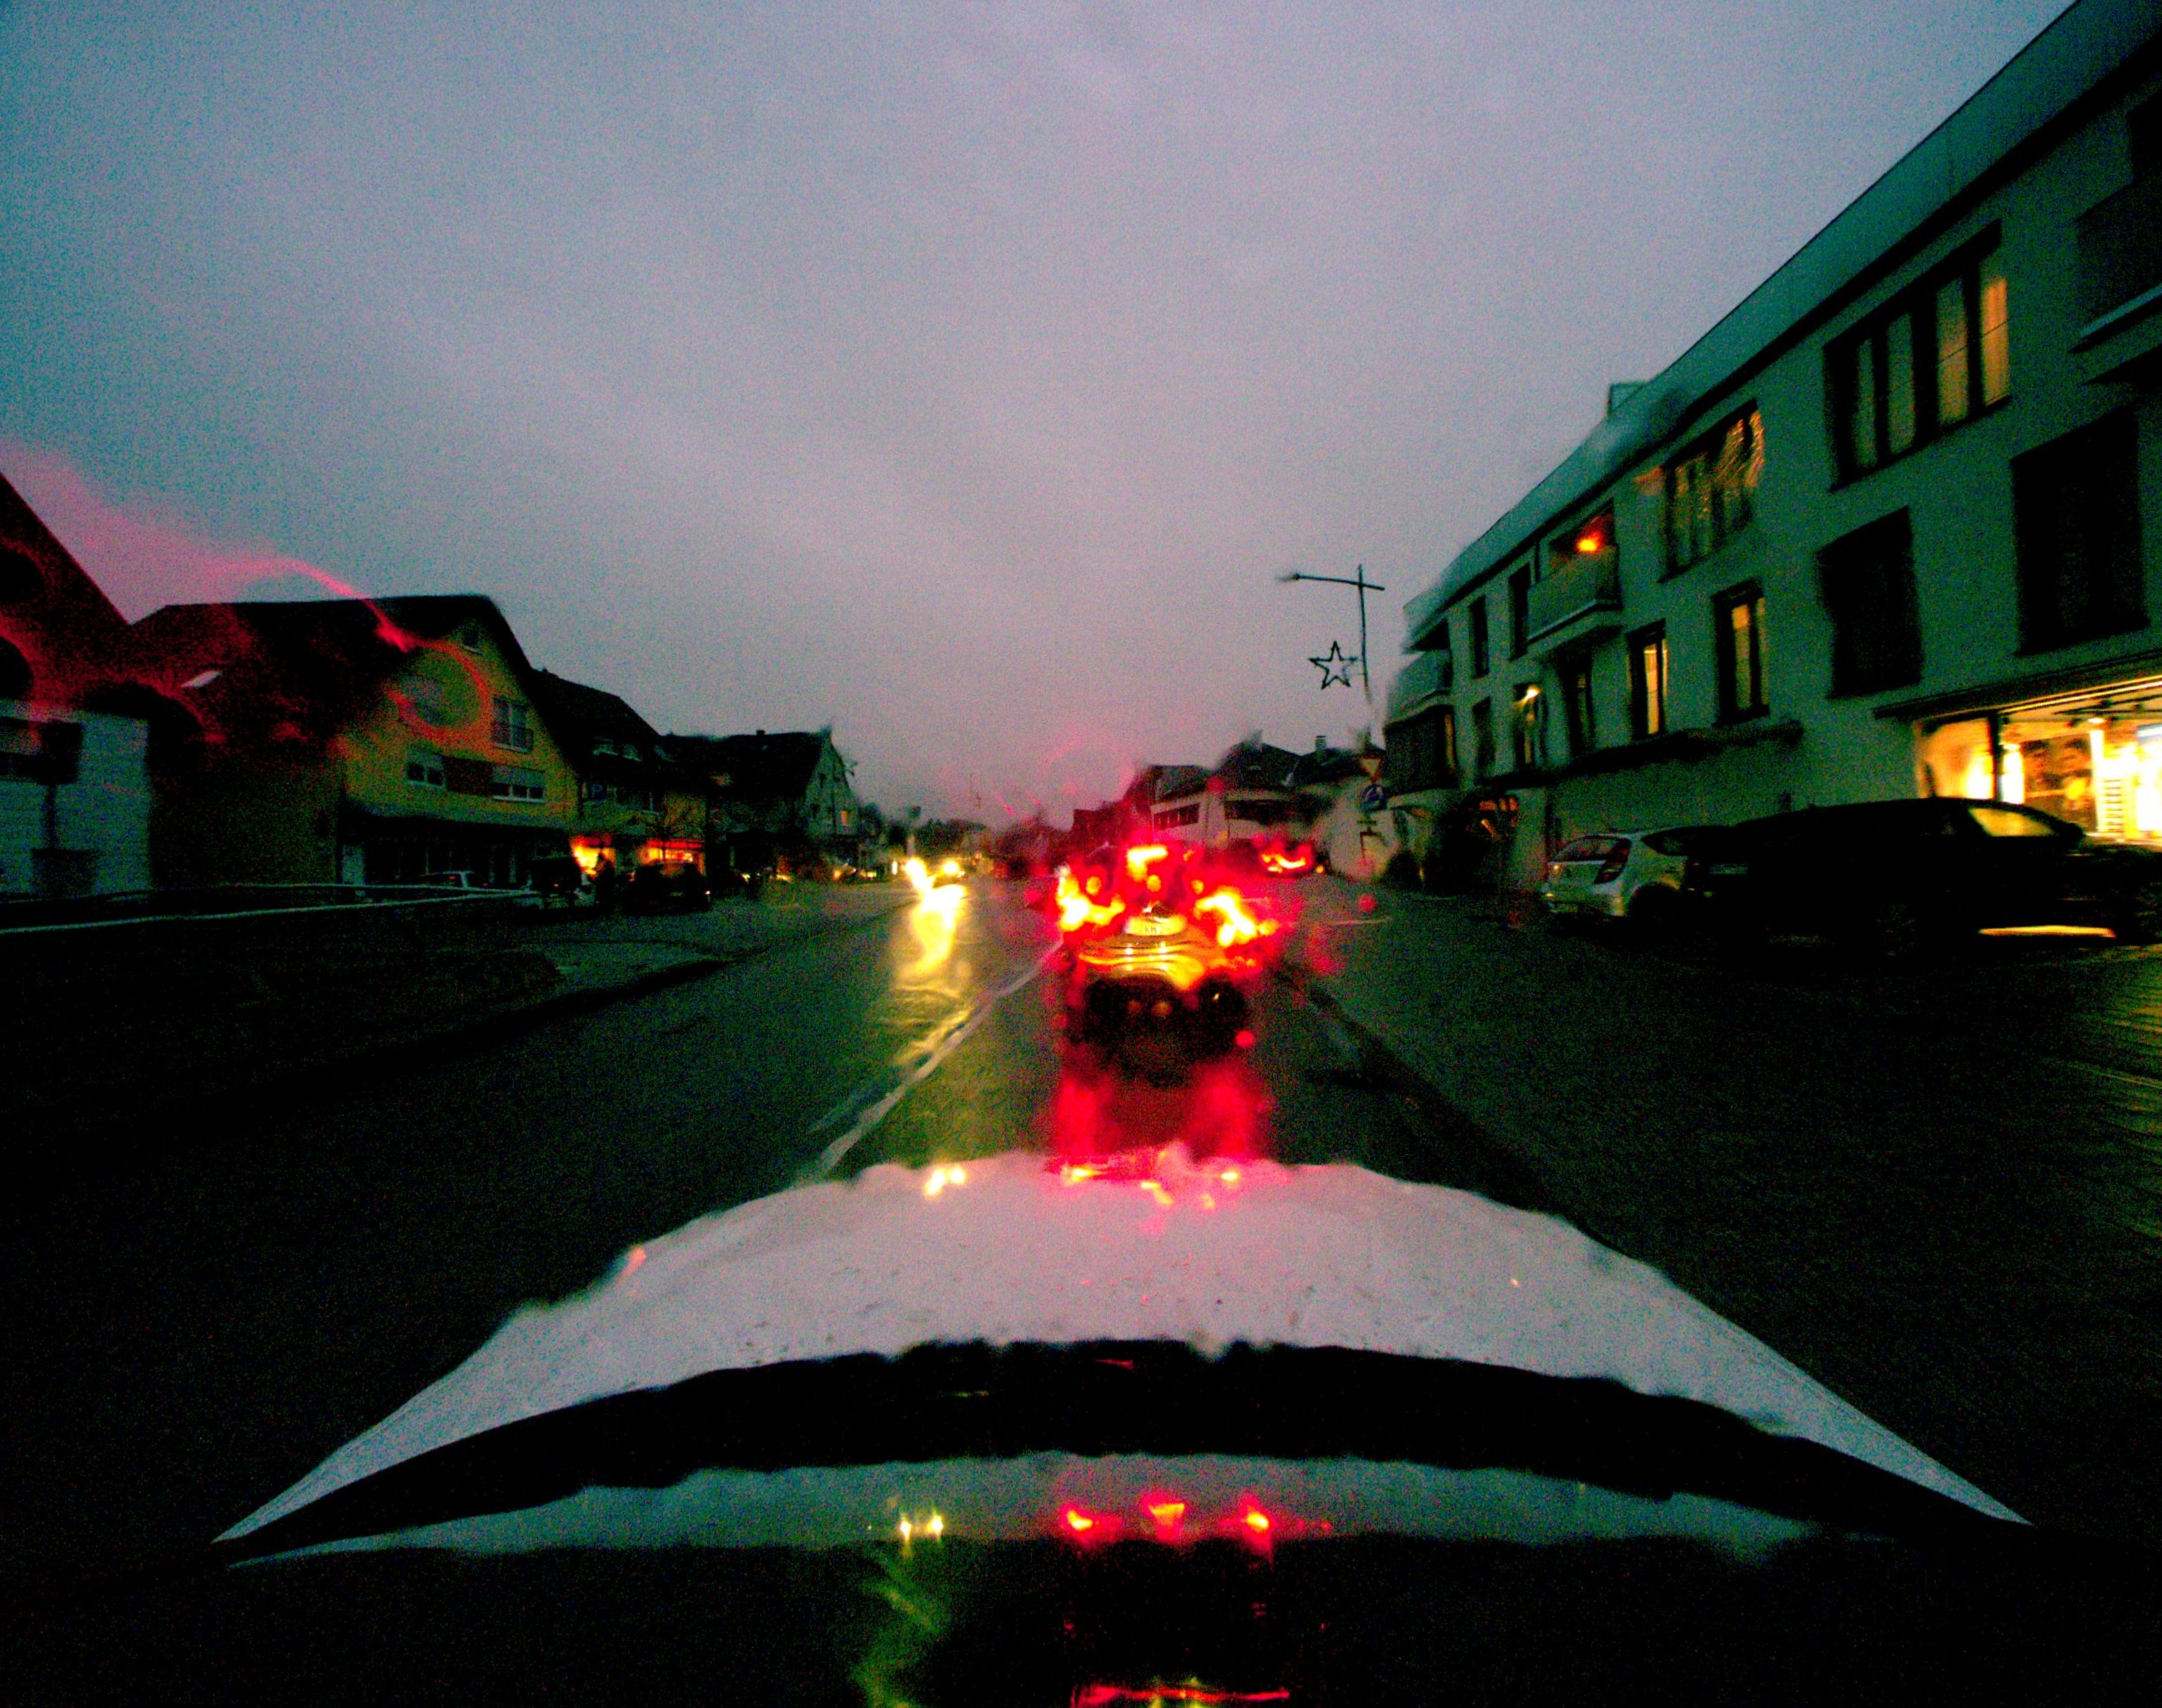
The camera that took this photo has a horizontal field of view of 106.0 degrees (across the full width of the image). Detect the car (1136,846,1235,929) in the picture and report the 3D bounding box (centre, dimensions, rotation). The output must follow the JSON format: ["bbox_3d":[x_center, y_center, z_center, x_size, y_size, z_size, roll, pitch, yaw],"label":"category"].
[{"bbox_3d":[2.019,0.604,16.685,1.676,1.453,4.003,-2,0,3],"label":"car"}]

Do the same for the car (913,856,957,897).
[{"bbox_3d":[-8.505,1.280,47.064,1.998,2.204,4.392,1,-1,-17],"label":"car"}]

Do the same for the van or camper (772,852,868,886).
[{"bbox_3d":[-16.471,0.963,51.398,5.489,1.954,2.008,-2,0,15],"label":"van or camper"}]

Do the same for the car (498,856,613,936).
[{"bbox_3d":[-14.224,1.058,22.296,2.047,1.925,4.023,-1,0,-25],"label":"car"}]

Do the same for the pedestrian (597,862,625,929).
[{"bbox_3d":[-12.384,1.074,21.486,0.498,1.701,0.707,-3,0,-25],"label":"pedestrian"}]

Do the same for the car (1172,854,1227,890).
[{"bbox_3d":[5.188,0.739,35.241,1.980,1.391,4.014,-2,0,13],"label":"car"}]

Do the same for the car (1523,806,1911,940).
[{"bbox_3d":[8.901,0.252,11.627,4.197,1.460,1.790,-4,-1,-4],"label":"car"}]

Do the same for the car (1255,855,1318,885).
[{"bbox_3d":[11.074,0.847,43.788,1.974,1.418,4.025,-4,-2,34],"label":"car"}]

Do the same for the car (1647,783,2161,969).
[{"bbox_3d":[8.624,0.185,8.509,4.197,1.460,1.790,-4,-1,-4],"label":"car"}]

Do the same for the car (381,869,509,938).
[{"bbox_3d":[-17.130,1.264,22.167,1.830,1.613,4.023,-1,0,-25],"label":"car"}]

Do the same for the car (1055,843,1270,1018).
[{"bbox_3d":[0.844,0.699,9.594,1.956,1.594,4.316,0,0,3],"label":"car"}]

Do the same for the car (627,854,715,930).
[{"bbox_3d":[-11.616,1.002,23.281,2.047,1.925,4.023,-1,0,-25],"label":"car"}]

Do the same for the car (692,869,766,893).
[{"bbox_3d":[-22.843,1.747,52.917,3.976,1.365,1.726,-2,0,-2],"label":"car"}]
